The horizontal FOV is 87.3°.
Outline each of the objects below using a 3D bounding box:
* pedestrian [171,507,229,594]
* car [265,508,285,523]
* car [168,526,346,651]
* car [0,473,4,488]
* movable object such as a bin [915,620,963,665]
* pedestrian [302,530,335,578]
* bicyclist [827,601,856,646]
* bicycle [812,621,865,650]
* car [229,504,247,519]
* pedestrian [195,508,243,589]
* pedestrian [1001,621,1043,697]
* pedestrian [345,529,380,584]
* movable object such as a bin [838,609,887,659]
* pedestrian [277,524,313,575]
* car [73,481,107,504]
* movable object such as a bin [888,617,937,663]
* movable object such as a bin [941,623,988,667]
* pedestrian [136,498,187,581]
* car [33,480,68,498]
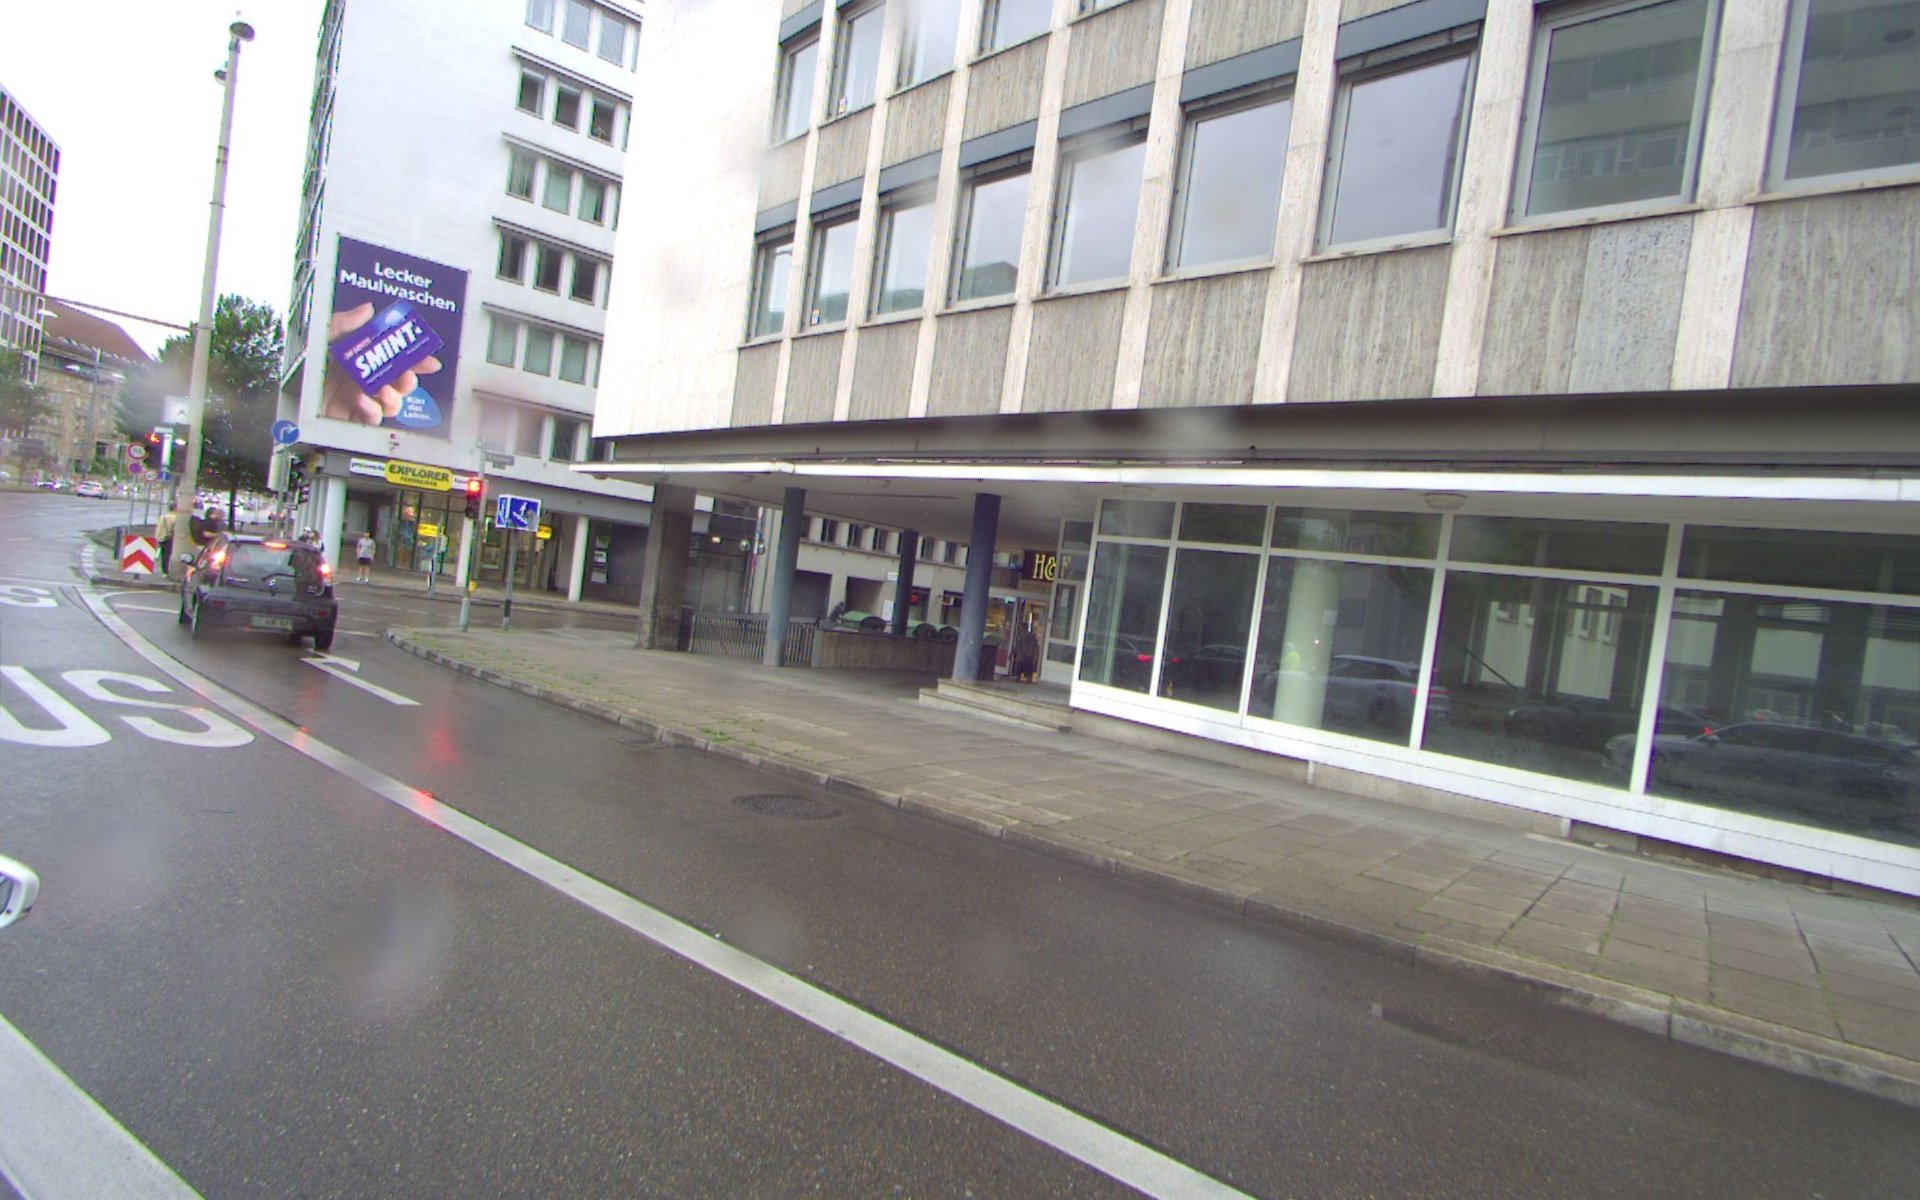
[{"bbox_3d":[-16.372,-1.056,21.679,0.768,1.752,0.589,7,0,-44],"label":"pedestrian"},{"bbox_3d":[-91.581,-11.252,134.552,1.680,1.503,3.973,8,-2,-28],"label":"car"},{"bbox_3d":[-10.452,-0.230,14.833,1.566,1.446,3.953,9,-2,-42],"label":"car"},{"bbox_3d":[-99.300,-12.405,102.300,1.979,1.506,3.968,8,0,-30],"label":"car"},{"bbox_3d":[-0.744,1.515,35.942,1.095,1.399,1.186,7,1,-37],"label":"movable object such as a bin"},{"bbox_3d":[-22.181,-1.574,34.773,0.616,1.561,0.651,8,0,-15],"label":"pedestrian"},{"bbox_3d":[-4.495,0.883,38.165,0.764,1.588,0.527,7,0,-40],"label":"bicyclist"},{"bbox_3d":[-4.605,1.360,38.162,2.018,0.899,0.398,9,-1,-41],"label":"bicycle"},{"bbox_3d":[-123.859,-15.168,172.554,1.980,2.037,3.968,8,-1,-31],"label":"car"},{"bbox_3d":[-17.669,-1.229,23.975,0.745,1.820,0.808,7,1,-38],"label":"pedestrian"},{"bbox_3d":[1.572,1.493,25.643,0.698,1.825,0.799,8,0,-7],"label":"pedestrian"},{"bbox_3d":[-20.994,-1.524,35.344,0.660,1.815,0.771,7,0,-15],"label":"pedestrian"},{"bbox_3d":[-3.267,1.136,33.518,0.961,1.447,1.268,7,1,-36],"label":"movable object such as a bin"},{"bbox_3d":[-22.933,-1.731,34.703,0.660,1.675,0.651,8,0,-15],"label":"pedestrian"},{"bbox_3d":[-81.747,-10.098,94.604,1.878,1.662,3.962,8,-1,-35],"label":"car"},{"bbox_3d":[-1.659,1.394,35.232,1.095,1.399,1.186,7,1,-37],"label":"movable object such as a bin"},{"bbox_3d":[0.160,1.642,36.630,1.095,1.399,1.186,7,1,-37],"label":"movable object such as a bin"},{"bbox_3d":[-18.659,-1.420,23.526,0.745,1.820,0.808,7,1,-38],"label":"pedestrian"},{"bbox_3d":[-101.143,-12.304,111.964,1.979,1.506,3.968,8,0,-30],"label":"car"}]
